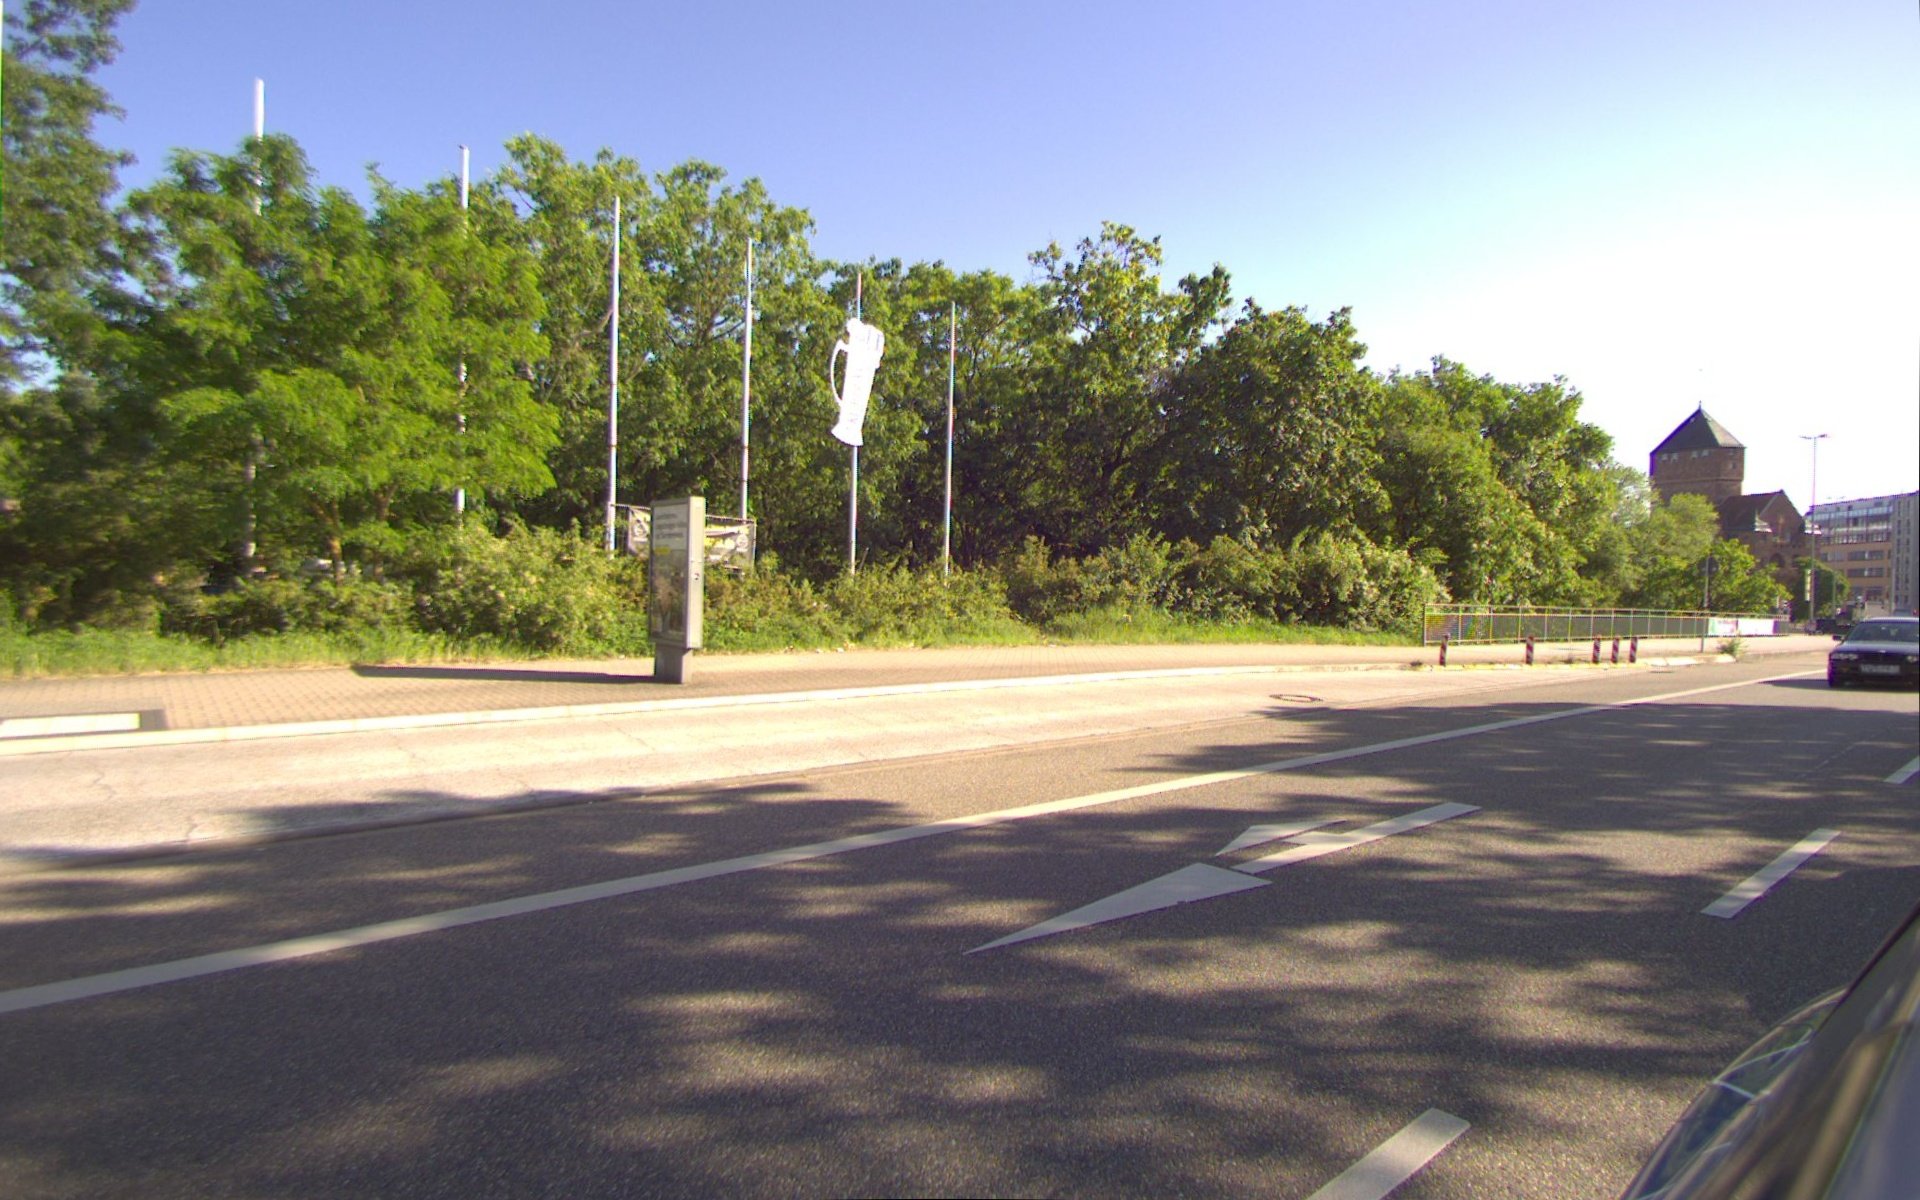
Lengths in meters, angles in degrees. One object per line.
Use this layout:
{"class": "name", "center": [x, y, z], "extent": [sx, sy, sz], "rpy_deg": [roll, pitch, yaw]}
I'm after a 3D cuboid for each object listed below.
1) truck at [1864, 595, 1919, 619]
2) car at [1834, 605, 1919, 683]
{"class": "truck", "center": [136.347, 0.993, 147.009], "extent": [3.475, 3.291, 9.130], "rpy_deg": [1, 1, 13]}
{"class": "car", "center": [19.210, 0.838, 20.413], "extent": [4.242, 1.420, 1.775], "rpy_deg": [0, 1, -41]}
